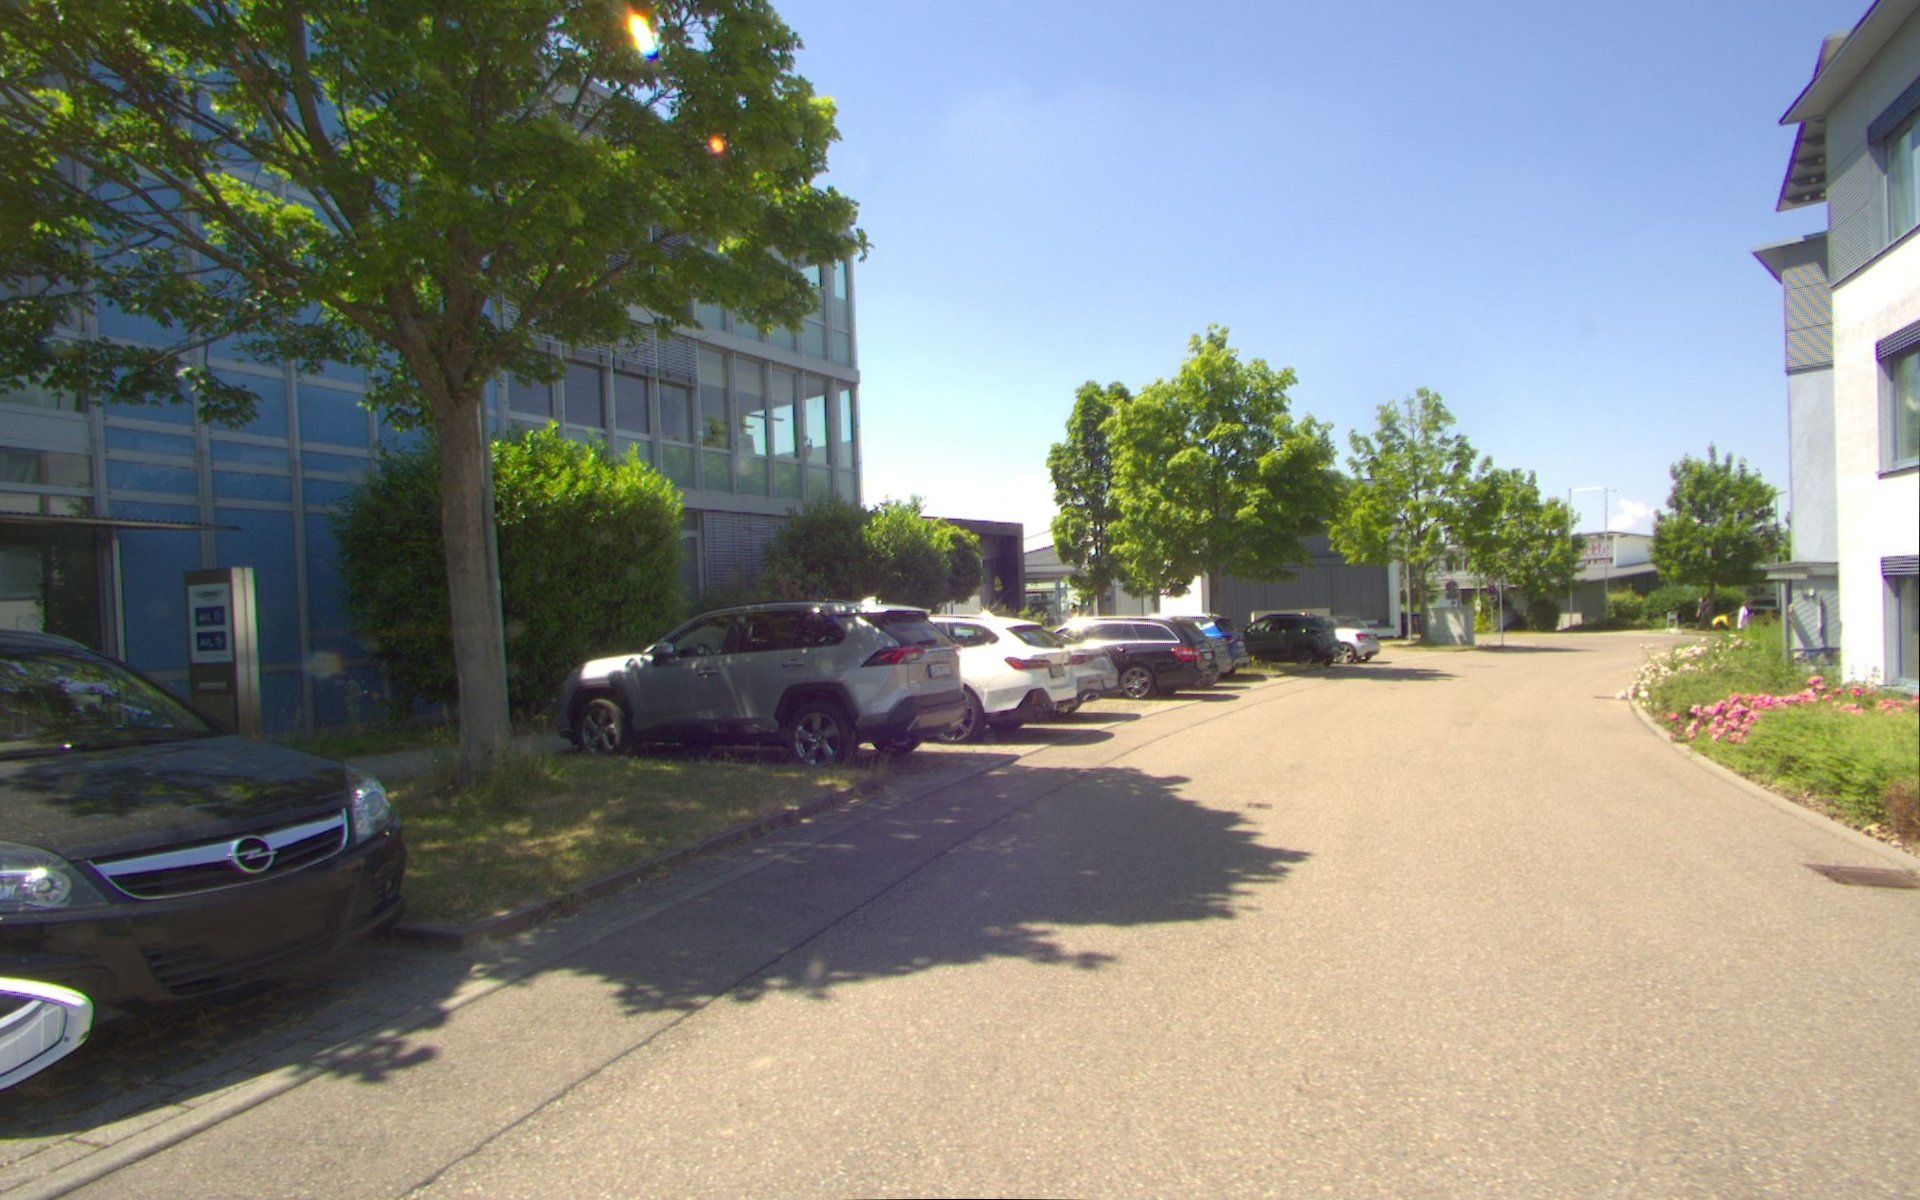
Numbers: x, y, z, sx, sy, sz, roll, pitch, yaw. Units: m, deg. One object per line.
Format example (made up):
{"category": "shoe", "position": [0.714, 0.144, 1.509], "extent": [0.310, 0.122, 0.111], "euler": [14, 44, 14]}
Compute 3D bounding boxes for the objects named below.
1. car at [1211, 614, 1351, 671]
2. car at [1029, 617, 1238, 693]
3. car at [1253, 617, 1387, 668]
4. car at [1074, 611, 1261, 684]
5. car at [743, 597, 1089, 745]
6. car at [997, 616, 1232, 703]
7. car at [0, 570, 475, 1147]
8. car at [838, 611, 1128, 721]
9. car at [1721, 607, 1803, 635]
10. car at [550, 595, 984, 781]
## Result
{"category": "car", "position": [9.293, 1.185, 29.075], "extent": [3.548, 1.545, 1.623], "euler": [-1, -1, 41]}
{"category": "car", "position": [3.673, 1.110, 21.226], "extent": [4.108, 1.505, 1.656], "euler": [-1, -1, 24]}
{"category": "car", "position": [10.996, 1.255, 30.714], "extent": [3.548, 1.462, 1.623], "euler": [-1, -1, 41]}
{"category": "car", "position": [4.921, 1.083, 24.037], "extent": [4.124, 1.626, 1.650], "euler": [-1, -1, 37]}
{"category": "car", "position": [-0.573, 0.827, 12.824], "extent": [4.132, 1.664, 1.656], "euler": [0, -1, 23]}
{"category": "car", "position": [2.893, 1.063, 19.035], "extent": [4.116, 1.505, 1.653], "euler": [-1, -1, 31]}
{"category": "car", "position": [-4.461, 0.779, 4.216], "extent": [4.487, 1.569, 1.760], "euler": [-2, -1, 21]}
{"category": "car", "position": [0.341, 0.931, 15.197], "extent": [4.108, 1.505, 1.656], "euler": [0, -1, 23]}
{"category": "car", "position": [44.096, 1.155, 55.145], "extent": [1.561, 1.461, 3.211], "euler": [-1, -1, -15]}
{"category": "car", "position": [-2.053, 0.821, 10.670], "extent": [4.259, 1.664, 1.852], "euler": [0, -1, 23]}
